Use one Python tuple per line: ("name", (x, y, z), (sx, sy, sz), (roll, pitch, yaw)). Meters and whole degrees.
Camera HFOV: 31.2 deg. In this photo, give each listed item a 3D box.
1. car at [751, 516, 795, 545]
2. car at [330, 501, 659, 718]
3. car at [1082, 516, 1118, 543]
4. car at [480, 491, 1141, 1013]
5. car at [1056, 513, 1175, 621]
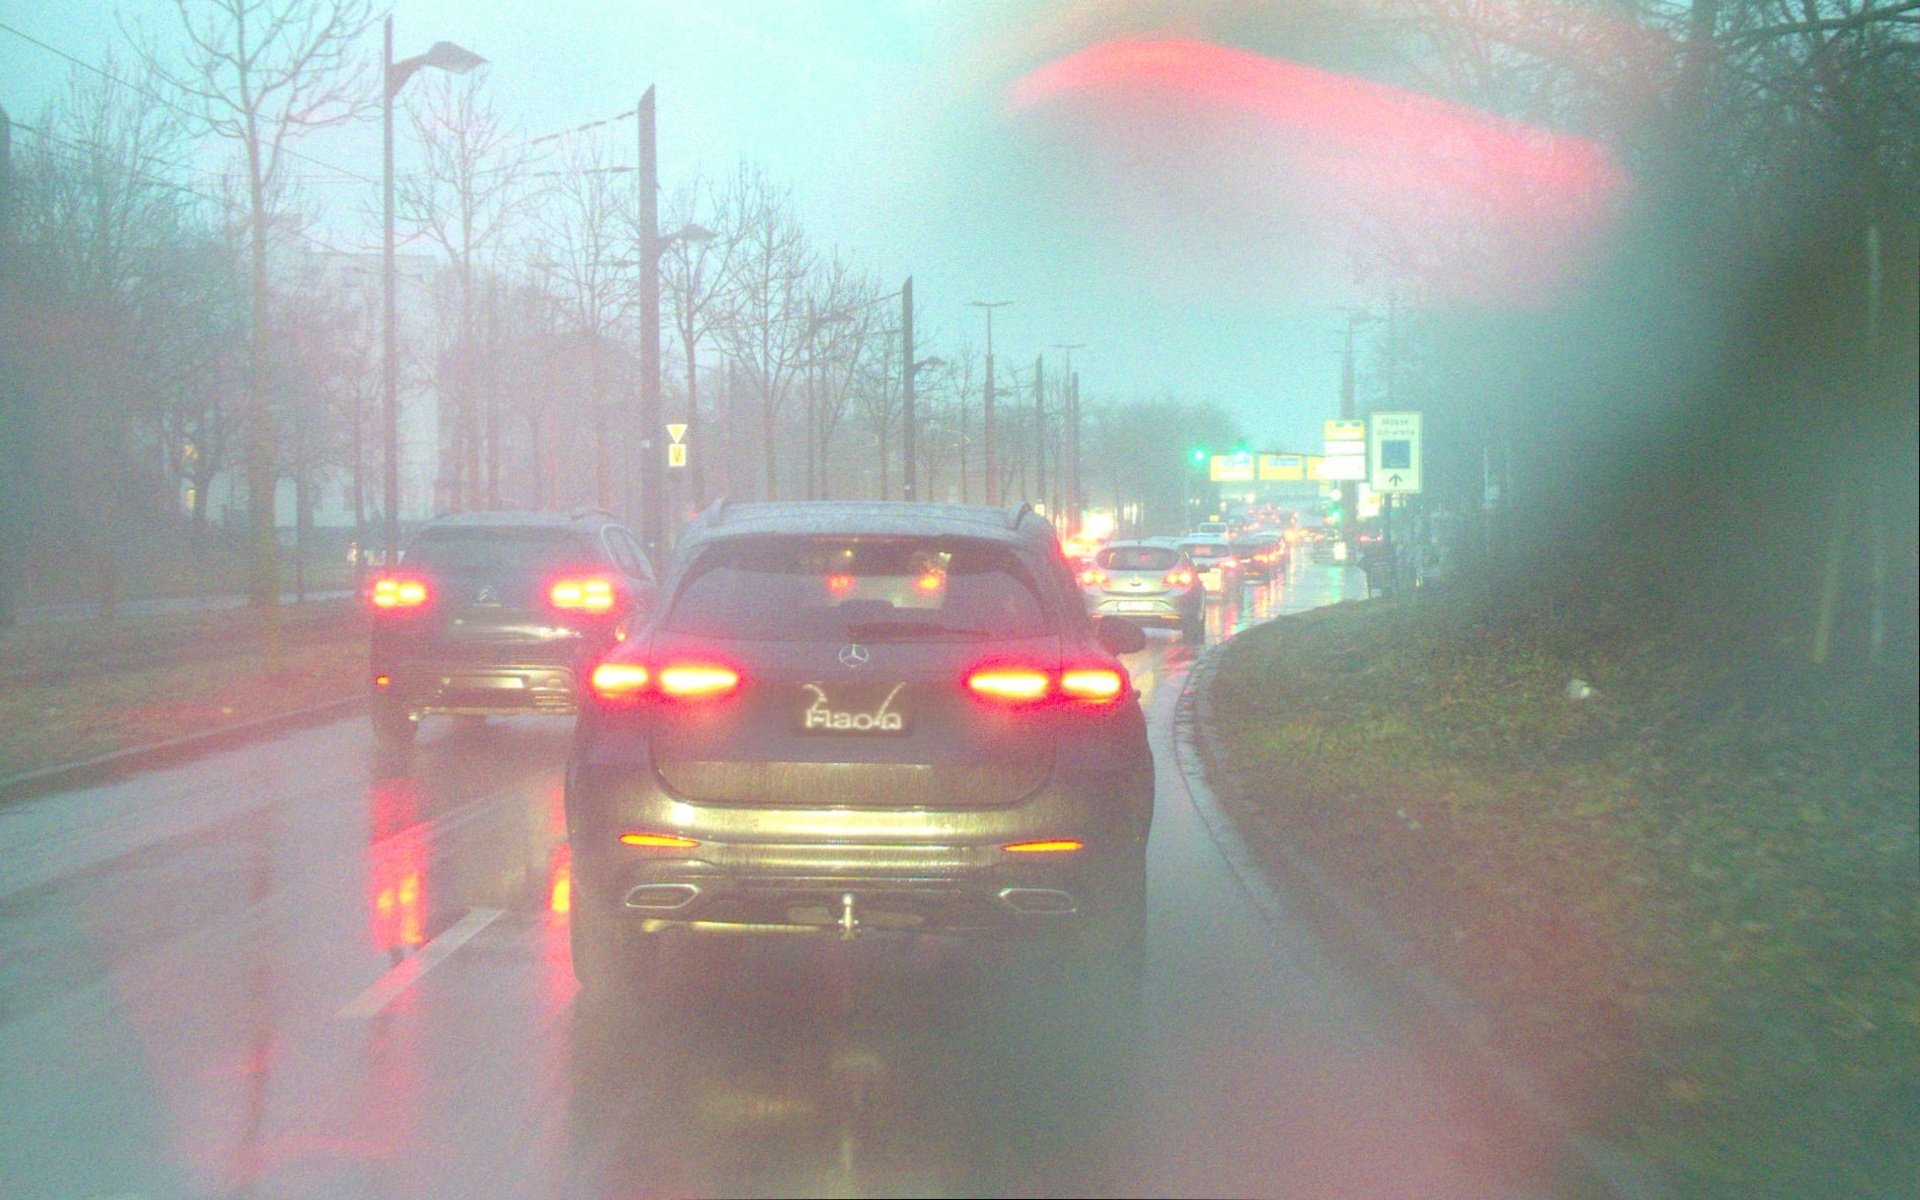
("car", (-11.137, -4.141, 204.891), (1.994, 1.652, 3.999), (1, 1, 6))
("car", (-3.344, 0.007, 25.426), (1.880, 1.454, 4.000), (-1, 2, 0))
("car", (8.660, -4.348, 212.561), (1.994, 1.660, 3.836), (-1, 1, 6))
("car", (-0.492, 0.412, 12.420), (1.998, 1.578, 4.001), (0, 1, -1))
("car", (2.327, -0.517, 51.830), (1.709, 1.552, 3.996), (0, 1, 2))
